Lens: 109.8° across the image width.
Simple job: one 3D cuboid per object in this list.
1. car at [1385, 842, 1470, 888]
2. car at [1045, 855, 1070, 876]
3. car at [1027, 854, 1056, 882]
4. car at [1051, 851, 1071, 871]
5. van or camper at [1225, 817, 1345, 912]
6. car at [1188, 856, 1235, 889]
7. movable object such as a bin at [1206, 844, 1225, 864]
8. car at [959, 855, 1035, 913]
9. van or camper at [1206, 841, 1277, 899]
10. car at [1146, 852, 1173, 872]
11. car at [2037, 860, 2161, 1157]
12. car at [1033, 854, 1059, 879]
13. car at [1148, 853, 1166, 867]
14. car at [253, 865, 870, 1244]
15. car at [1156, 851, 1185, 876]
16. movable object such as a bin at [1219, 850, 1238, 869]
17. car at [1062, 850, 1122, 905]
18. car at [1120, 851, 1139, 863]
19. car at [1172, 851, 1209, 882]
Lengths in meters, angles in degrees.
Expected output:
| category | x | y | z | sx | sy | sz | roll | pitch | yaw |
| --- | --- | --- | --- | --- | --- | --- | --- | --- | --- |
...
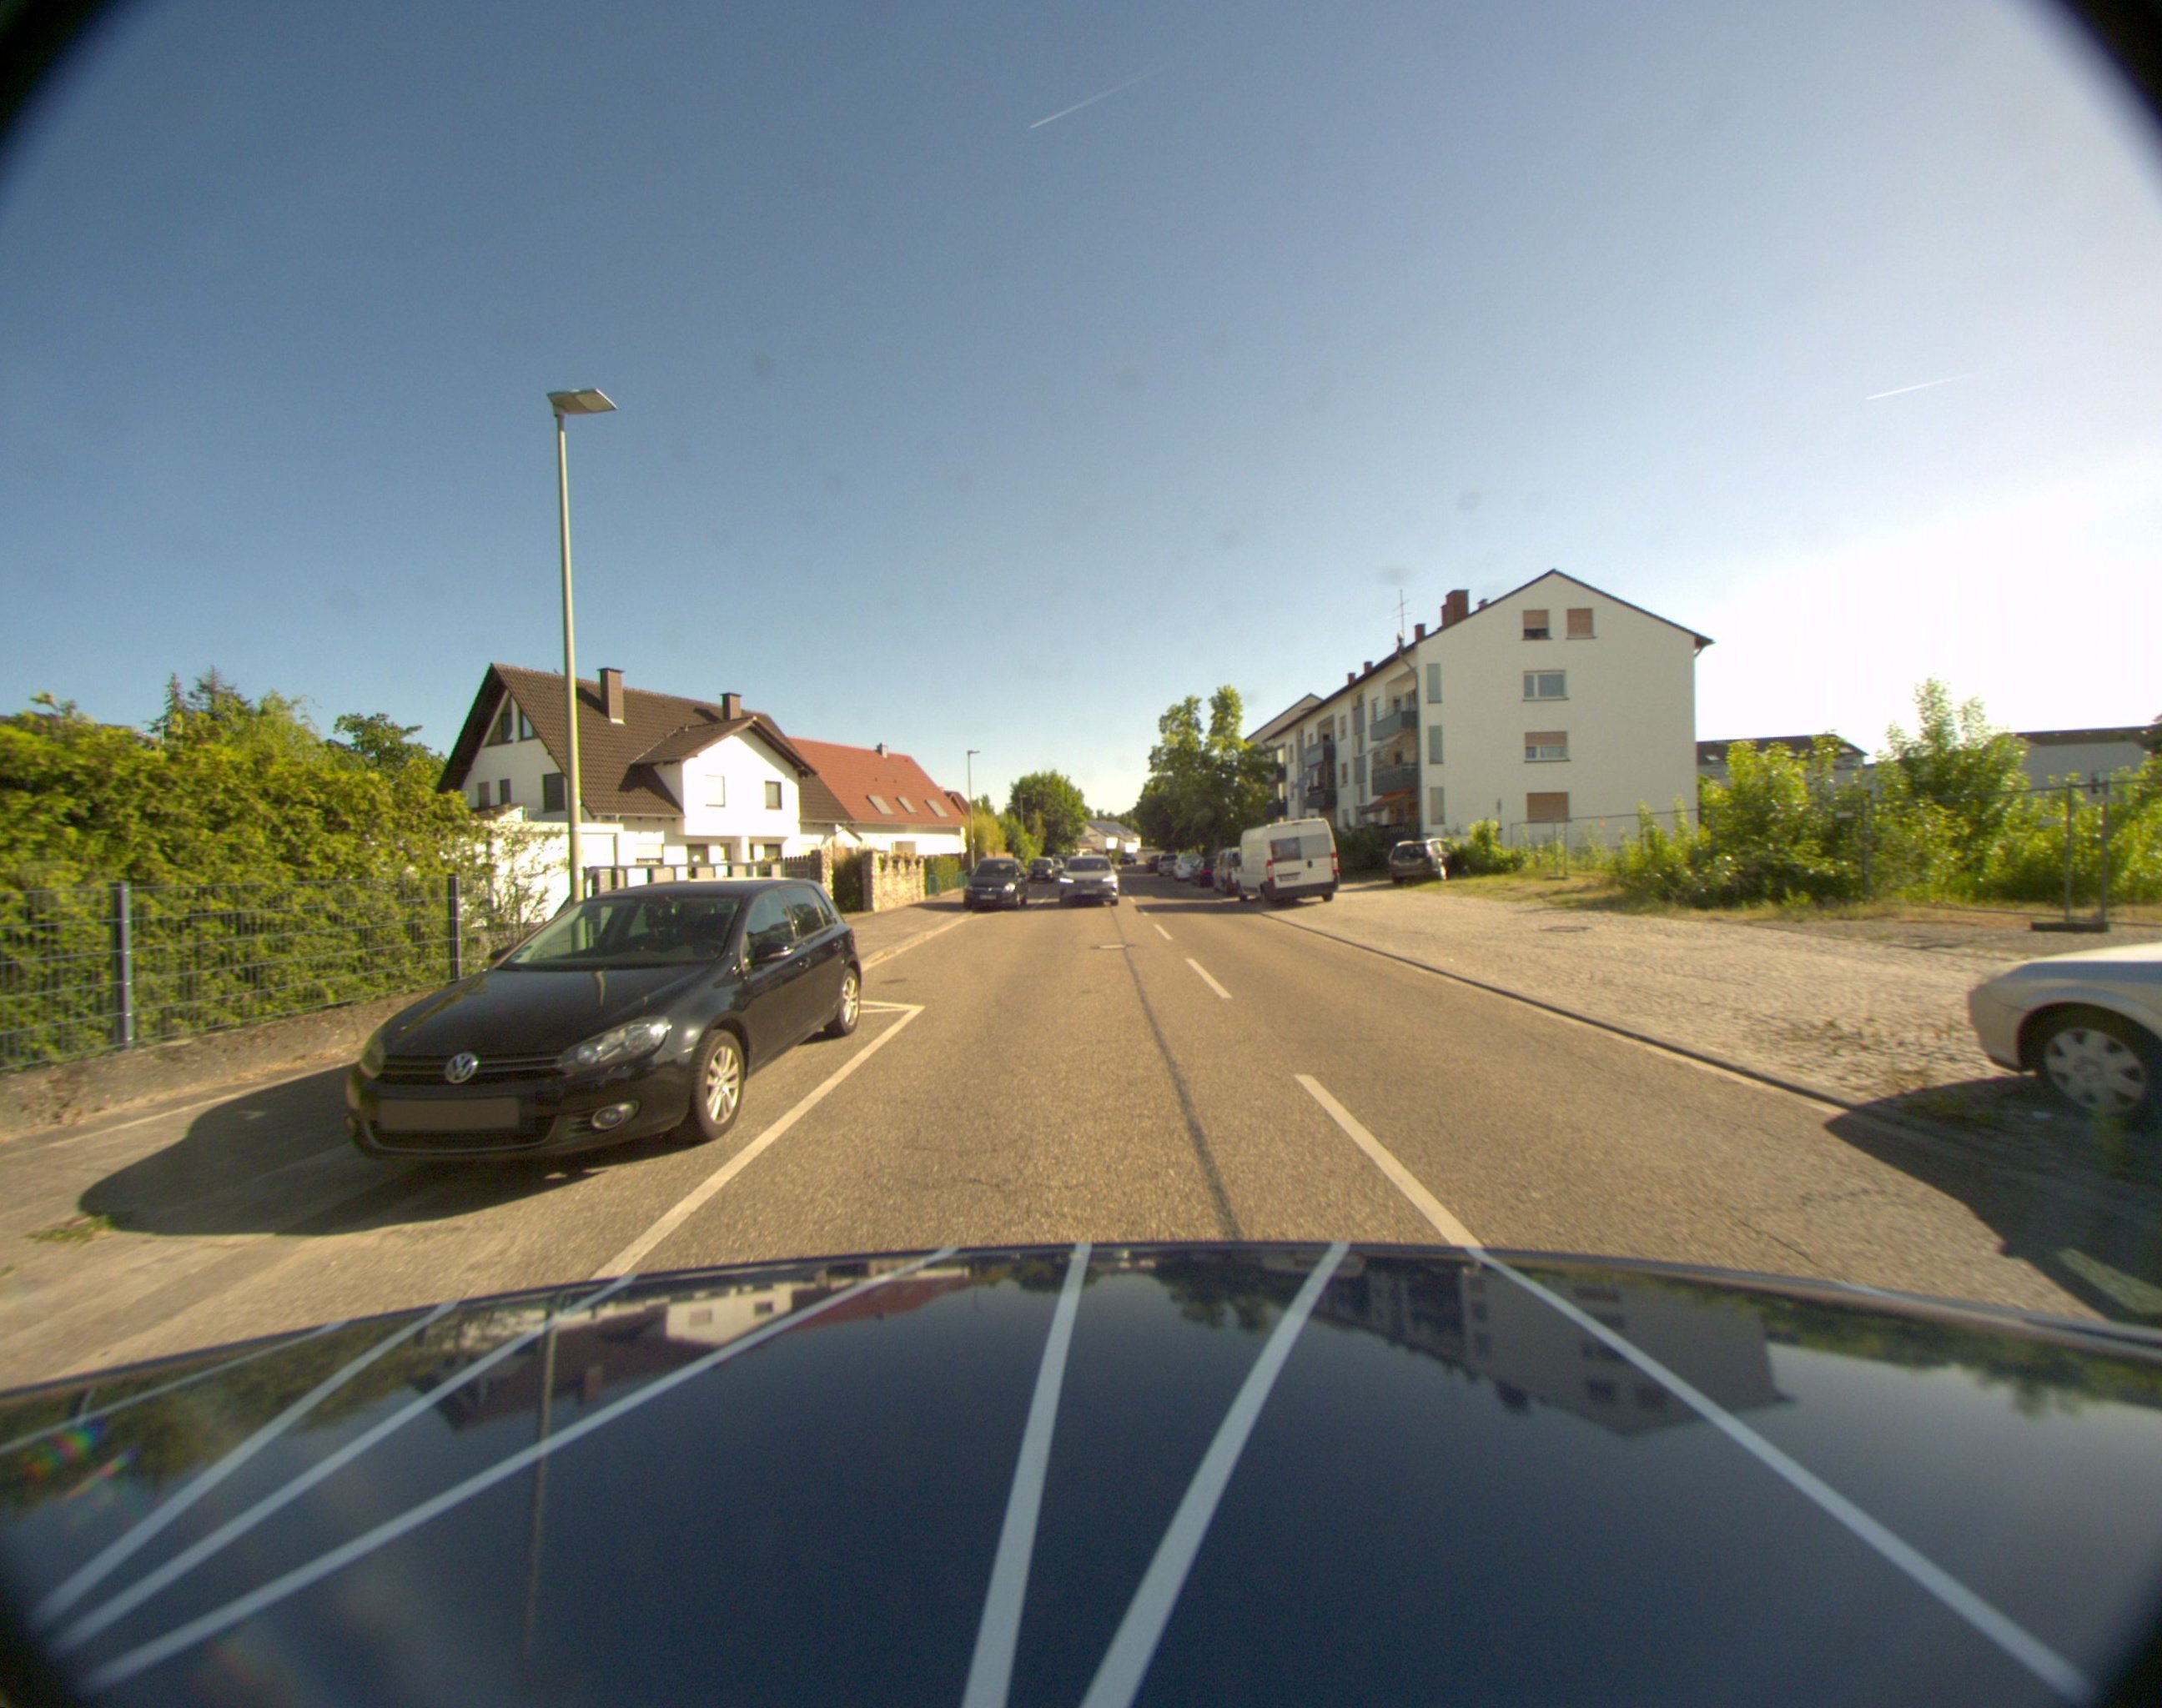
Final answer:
| category | x | y | z | sx | sy | sz | roll | pitch | yaw |
| --- | --- | --- | --- | --- | --- | --- | --- | --- | --- |
| car | 12.748 | 0.365 | 27.822 | 1.610 | 1.505 | 4.396 | -2 | 0 | 41 |
| car | -1.776 | 0.836 | 58.249 | 1.646 | 1.485 | 3.890 | -1 | 0 | 2 |
| car | -2.455 | 0.813 | 47.252 | 1.661 | 1.591 | 3.815 | -2 | 0 | -2 |
| car | -1.821 | 0.647 | 70.977 | 1.747 | 1.802 | 4.429 | -1 | 0 | 0 |
| van or camper | 6.283 | 0.306 | 24.234 | 2.128 | 2.475 | 5.555 | -6 | 0 | 0 |
| car | 6.340 | 0.843 | 37.326 | 1.613 | 1.427 | 4.313 | -3 | 0 | 1 |
| movable object such as a bin | 11.524 | 0.023 | 65.331 | 1.416 | 1.653 | 1.267 | -2 | 0 | 3 |
| car | -2.665 | 0.920 | 25.021 | 1.780 | 1.649 | 4.304 | -2 | 0 | 2 |
| van or camper | 6.292 | 0.599 | 30.231 | 1.882 | 2.002 | 4.279 | -4 | 0 | 2 |
| car | 7.007 | 0.684 | 68.267 | 1.726 | 1.485 | 4.543 | -7 | 0 | 0 |
| car | 6.055 | 0.736 | 2.057 | 1.691 | 1.427 | 4.209 | -4 | 0 | 3 |
| car | -2.422 | 0.849 | 52.696 | 1.729 | 1.591 | 3.815 | -2 | 0 | -2 |
| car | 8.619 | 0.668 | 86.119 | 1.660 | 1.485 | 3.911 | -5 | 0 | 10 |
| car | -2.961 | 0.970 | 5.476 | 1.780 | 1.649 | 3.815 | -2 | 0 | -1 |
| car | 6.566 | 0.685 | 56.188 | 1.726 | 1.583 | 3.909 | -7 | 0 | 3 |
| movable object such as a bin | 12.181 | 0.471 | 62.734 | 1.293 | 1.534 | 1.327 | -2 | 0 | 3 |
| car | 0.339 | 0.721 | 24.855 | 1.777 | 1.624 | 3.704 | -1 | 0 | 0 |
| car | 7.429 | 0.401 | 116.979 | 1.774 | 1.727 | 3.710 | 2 | 1 | 23 |
| car | 6.245 | 0.699 | 43.847 | 1.696 | 1.557 | 3.907 | -5 | 0 | 4 |
